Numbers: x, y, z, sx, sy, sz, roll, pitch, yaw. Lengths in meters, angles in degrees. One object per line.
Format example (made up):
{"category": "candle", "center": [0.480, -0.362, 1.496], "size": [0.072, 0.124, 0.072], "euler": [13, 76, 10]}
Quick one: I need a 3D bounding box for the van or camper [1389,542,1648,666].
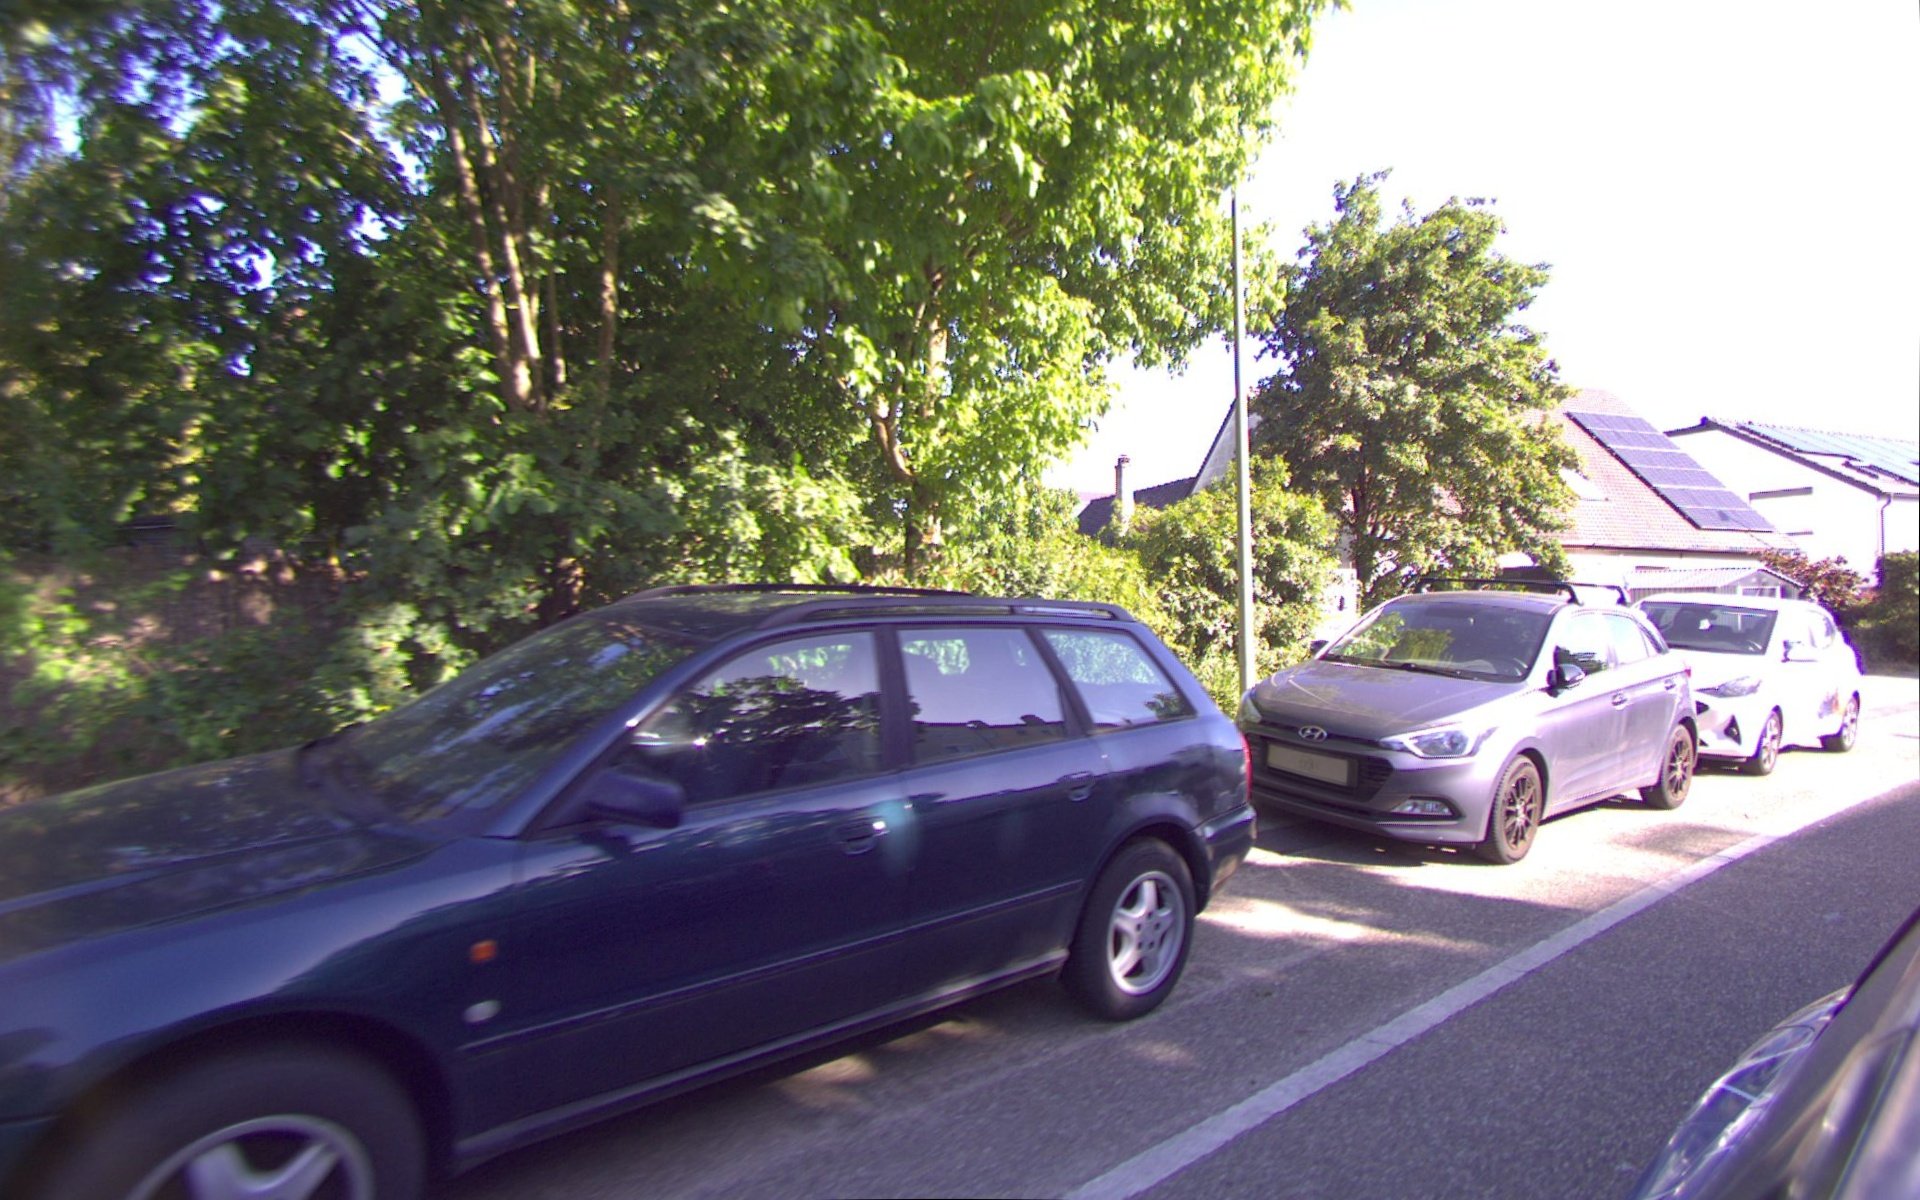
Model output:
{"category": "van or camper", "center": [10.144, 0.070, 18.721], "size": [1.910, 2.039, 3.860], "euler": [0, 0, -21]}

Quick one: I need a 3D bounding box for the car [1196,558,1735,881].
{"category": "car", "center": [3.574, 0.558, 6.890], "size": [3.926, 1.593, 1.724], "euler": [0, 2, -38]}

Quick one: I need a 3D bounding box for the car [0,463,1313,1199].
{"category": "car", "center": [-0.793, 0.575, 3.293], "size": [4.385, 1.583, 1.657], "euler": [0, -1, -40]}

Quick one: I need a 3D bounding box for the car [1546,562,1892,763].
{"category": "car", "center": [7.412, 0.473, 9.799], "size": [3.634, 1.593, 1.638], "euler": [0, 2, -36]}
